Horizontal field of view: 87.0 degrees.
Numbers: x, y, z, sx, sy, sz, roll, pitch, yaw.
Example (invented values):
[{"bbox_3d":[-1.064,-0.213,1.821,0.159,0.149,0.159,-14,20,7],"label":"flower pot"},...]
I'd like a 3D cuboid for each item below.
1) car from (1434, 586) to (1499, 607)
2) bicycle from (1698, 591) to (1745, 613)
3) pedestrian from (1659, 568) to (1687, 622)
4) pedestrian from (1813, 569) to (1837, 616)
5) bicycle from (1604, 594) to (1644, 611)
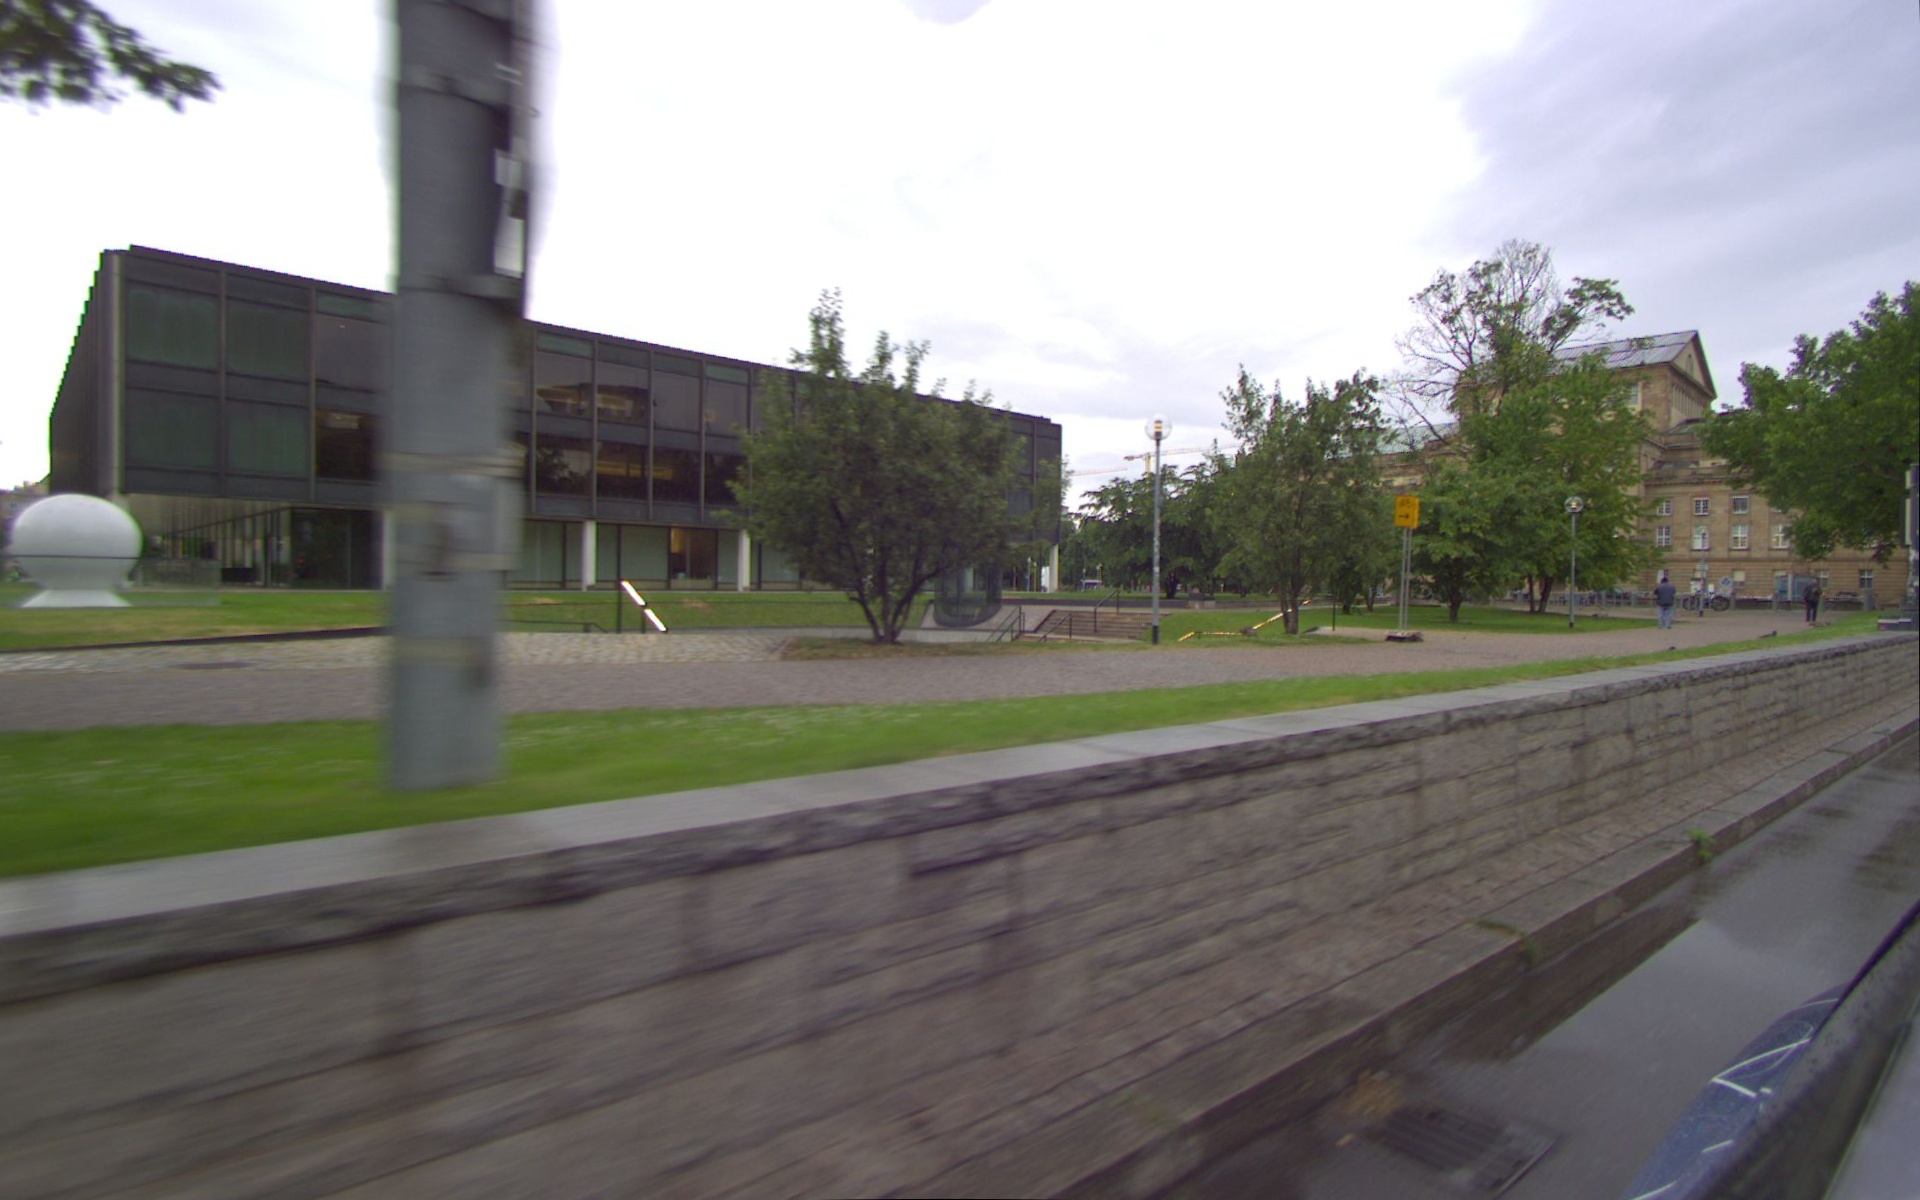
[{"bbox_3d":[40.543,-0.290,81.100,1.925,1.614,4.287,-1,0,-44],"label":"car"},{"bbox_3d":[37.815,0.086,50.272,1.740,1.079,0.820,-1,0,29],"label":"bicycle"},{"bbox_3d":[22.723,-0.169,32.253,0.665,1.685,0.582,2,1,32],"label":"pedestrian"},{"bbox_3d":[33.884,-0.297,39.637,0.577,1.796,0.594,0,0,-40],"label":"pedestrian"},{"bbox_3d":[33.023,0.132,50.362,1.611,0.806,0.505,1,1,29],"label":"bicycle"}]
